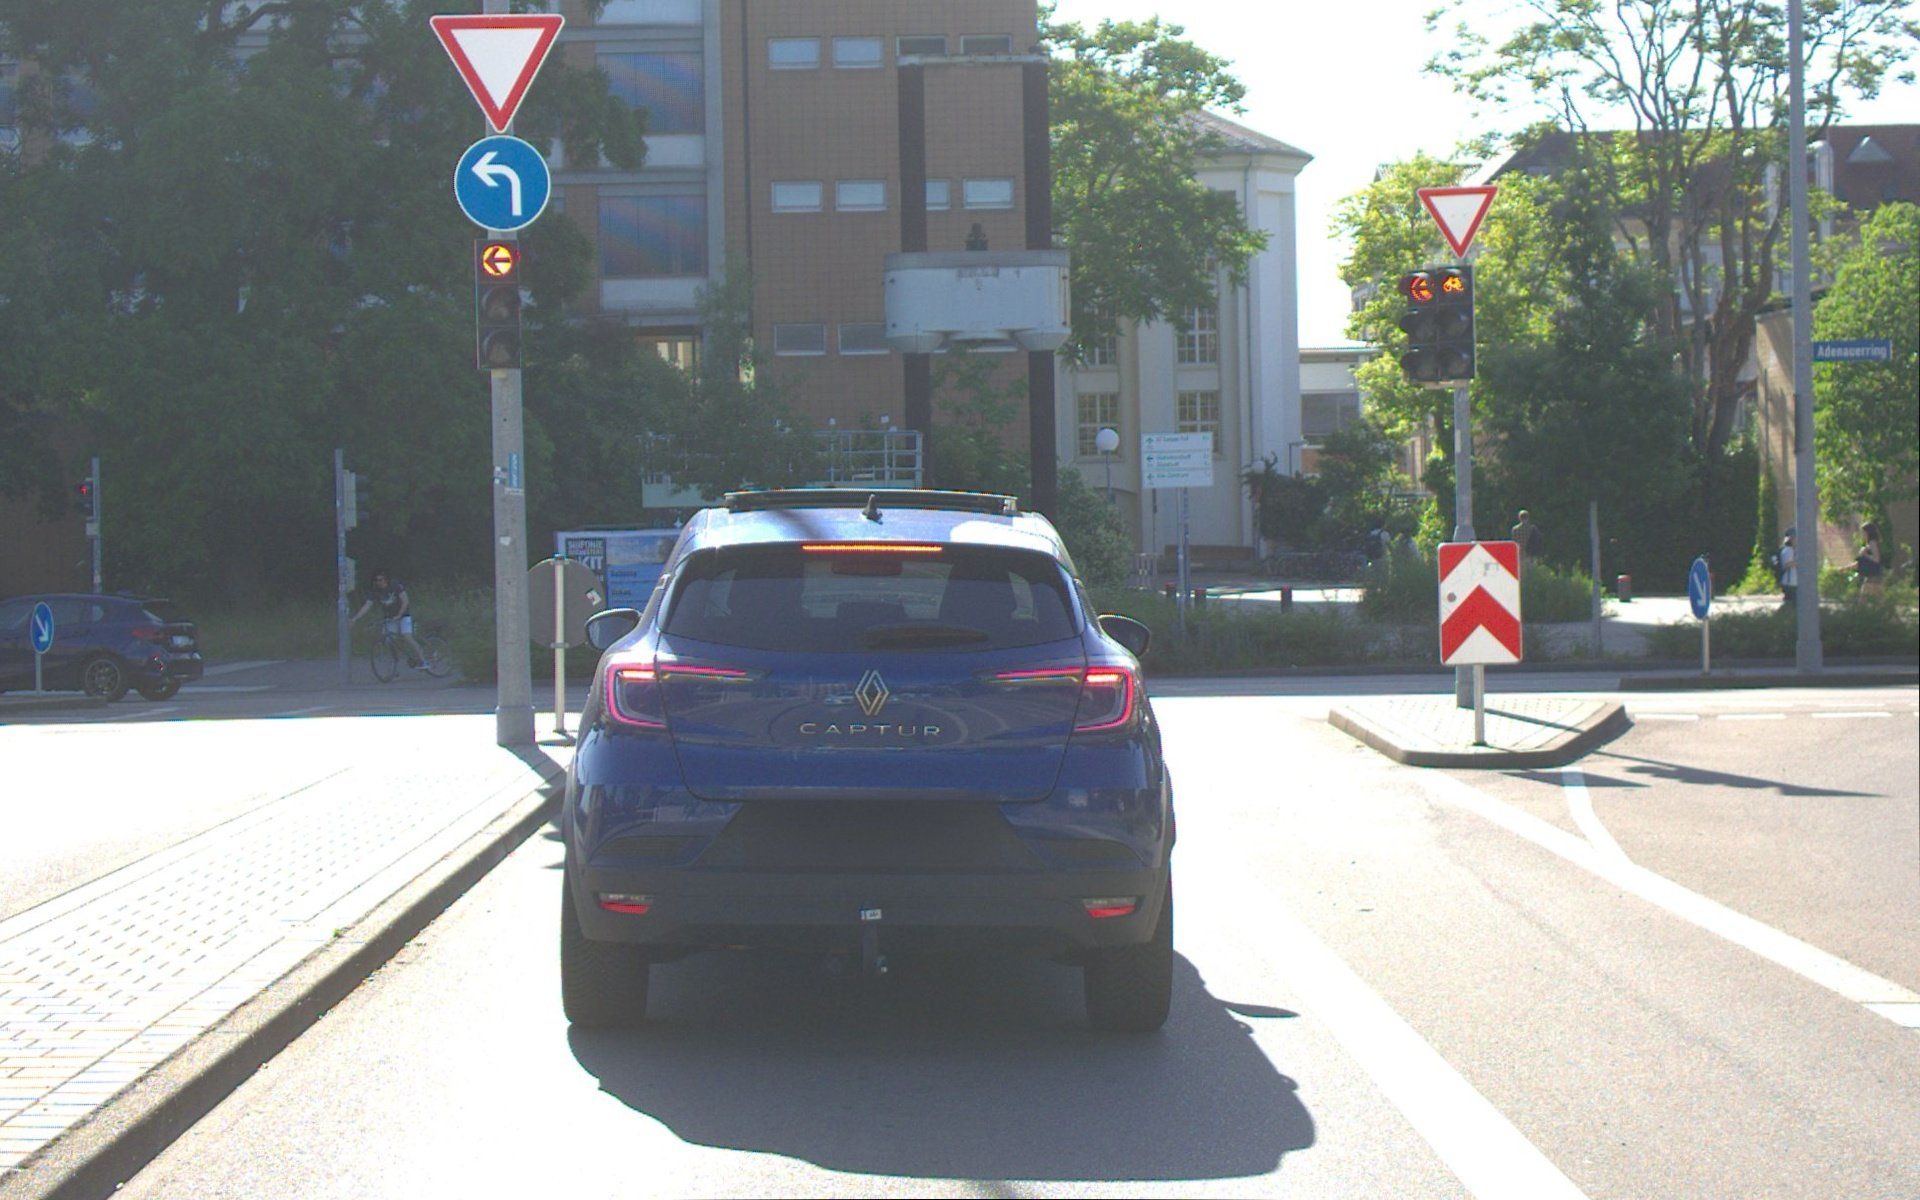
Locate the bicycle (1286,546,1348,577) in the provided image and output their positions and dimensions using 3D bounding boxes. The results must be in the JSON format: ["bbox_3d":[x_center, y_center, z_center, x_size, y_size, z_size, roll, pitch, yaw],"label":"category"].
[{"bbox_3d":[10.649,-1.154,102.569,1.771,0.895,0.765,-1,1,0],"label":"bicycle"}]

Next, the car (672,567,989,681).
[{"bbox_3d":[-1.727,0.313,46.842,4.045,1.434,2.065,-1,1,6],"label":"car"}]

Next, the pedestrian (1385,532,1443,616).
[{"bbox_3d":[8.821,-0.506,66.827,0.936,1.607,1.176,-1,1,-1],"label":"pedestrian"}]

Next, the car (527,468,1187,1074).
[{"bbox_3d":[-0.346,0.423,11.363,1.794,1.649,3.854,1,1,-2],"label":"car"}]

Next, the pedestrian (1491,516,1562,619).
[{"bbox_3d":[11.175,-0.651,67.854,1.156,2.007,1.164,-1,1,-1],"label":"pedestrian"}]

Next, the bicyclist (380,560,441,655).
[{"bbox_3d":[-8.247,0.114,51.615,0.647,1.407,0.638,-2,-1,19],"label":"bicyclist"}]

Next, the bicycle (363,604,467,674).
[{"bbox_3d":[-8.188,0.585,51.685,0.699,1.004,1.866,-3,-2,20],"label":"bicycle"}]

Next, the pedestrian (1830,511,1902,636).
[{"bbox_3d":[13.597,-0.400,51.613,0.932,1.849,0.807,-1,1,8],"label":"pedestrian"}]

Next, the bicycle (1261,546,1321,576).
[{"bbox_3d":[10.282,-1.215,106.930,1.771,0.890,0.765,-1,1,0],"label":"bicycle"}]

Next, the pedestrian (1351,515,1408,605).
[{"bbox_3d":[8.182,-0.783,67.134,0.953,1.735,0.984,-1,1,-1],"label":"pedestrian"}]

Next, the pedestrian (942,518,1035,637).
[{"bbox_3d":[0.459,-0.356,54.387,1.298,1.849,0.966,-1,1,11],"label":"pedestrian"}]

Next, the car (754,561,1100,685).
[{"bbox_3d":[-0.372,0.272,42.846,4.046,1.434,2.065,-1,1,8],"label":"car"}]

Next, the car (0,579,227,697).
[{"bbox_3d":[-11.884,0.498,45.190,3.902,1.443,2.101,-1,1,7],"label":"car"}]

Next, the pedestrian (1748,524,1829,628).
[{"bbox_3d":[12.336,-0.364,51.220,1.085,1.515,0.930,-1,1,9],"label":"pedestrian"}]
